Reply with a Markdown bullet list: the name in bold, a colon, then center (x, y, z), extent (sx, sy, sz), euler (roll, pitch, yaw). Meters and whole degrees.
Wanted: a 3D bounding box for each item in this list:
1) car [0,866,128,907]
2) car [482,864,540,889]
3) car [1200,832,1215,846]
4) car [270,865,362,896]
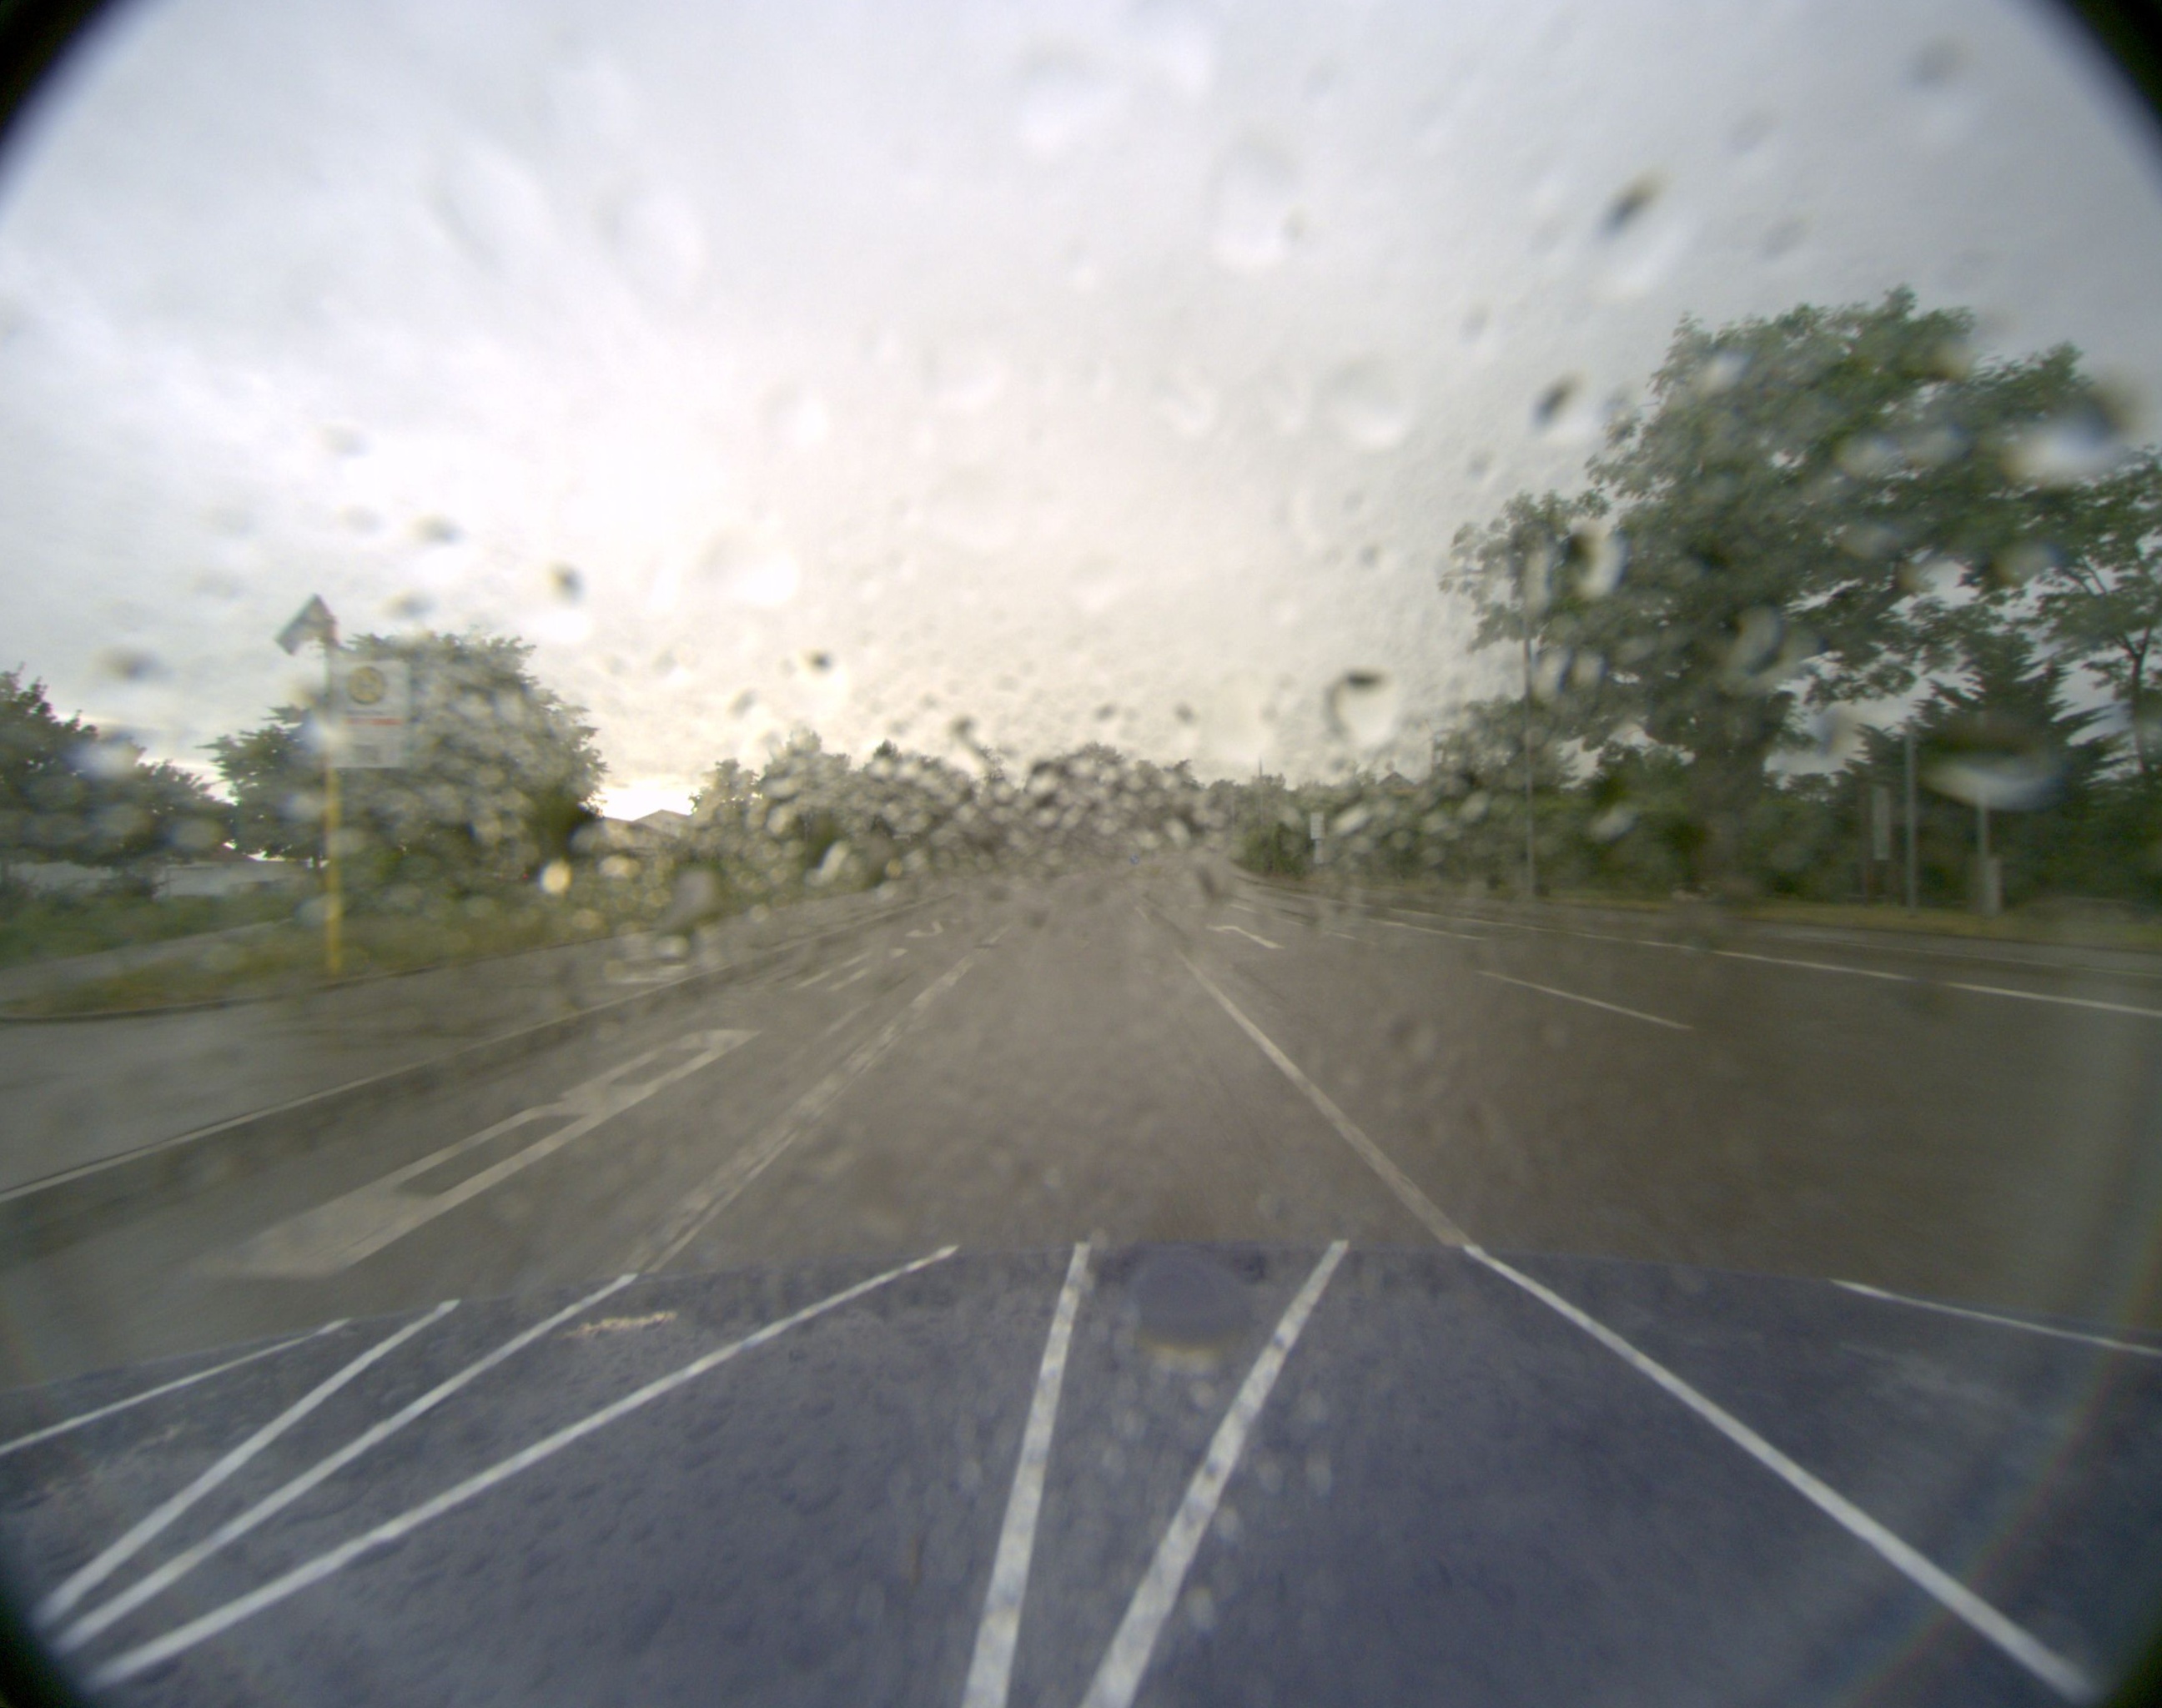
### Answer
- **car**: center (-49.575, 1.523, 36.804), extent (2.000, 1.740, 3.913), euler (-2, 1, -7)
- **car**: center (-38.036, 1.490, 50.703), extent (3.601, 1.495, 1.819), euler (-1, 1, 32)
- **car**: center (18.897, -2.246, 113.426), extent (1.965, 2.002, 4.003), euler (-1, 1, 12)
- **car**: center (-49.408, 1.659, 49.240), extent (1.786, 1.677, 4.496), euler (-1, 2, -8)
